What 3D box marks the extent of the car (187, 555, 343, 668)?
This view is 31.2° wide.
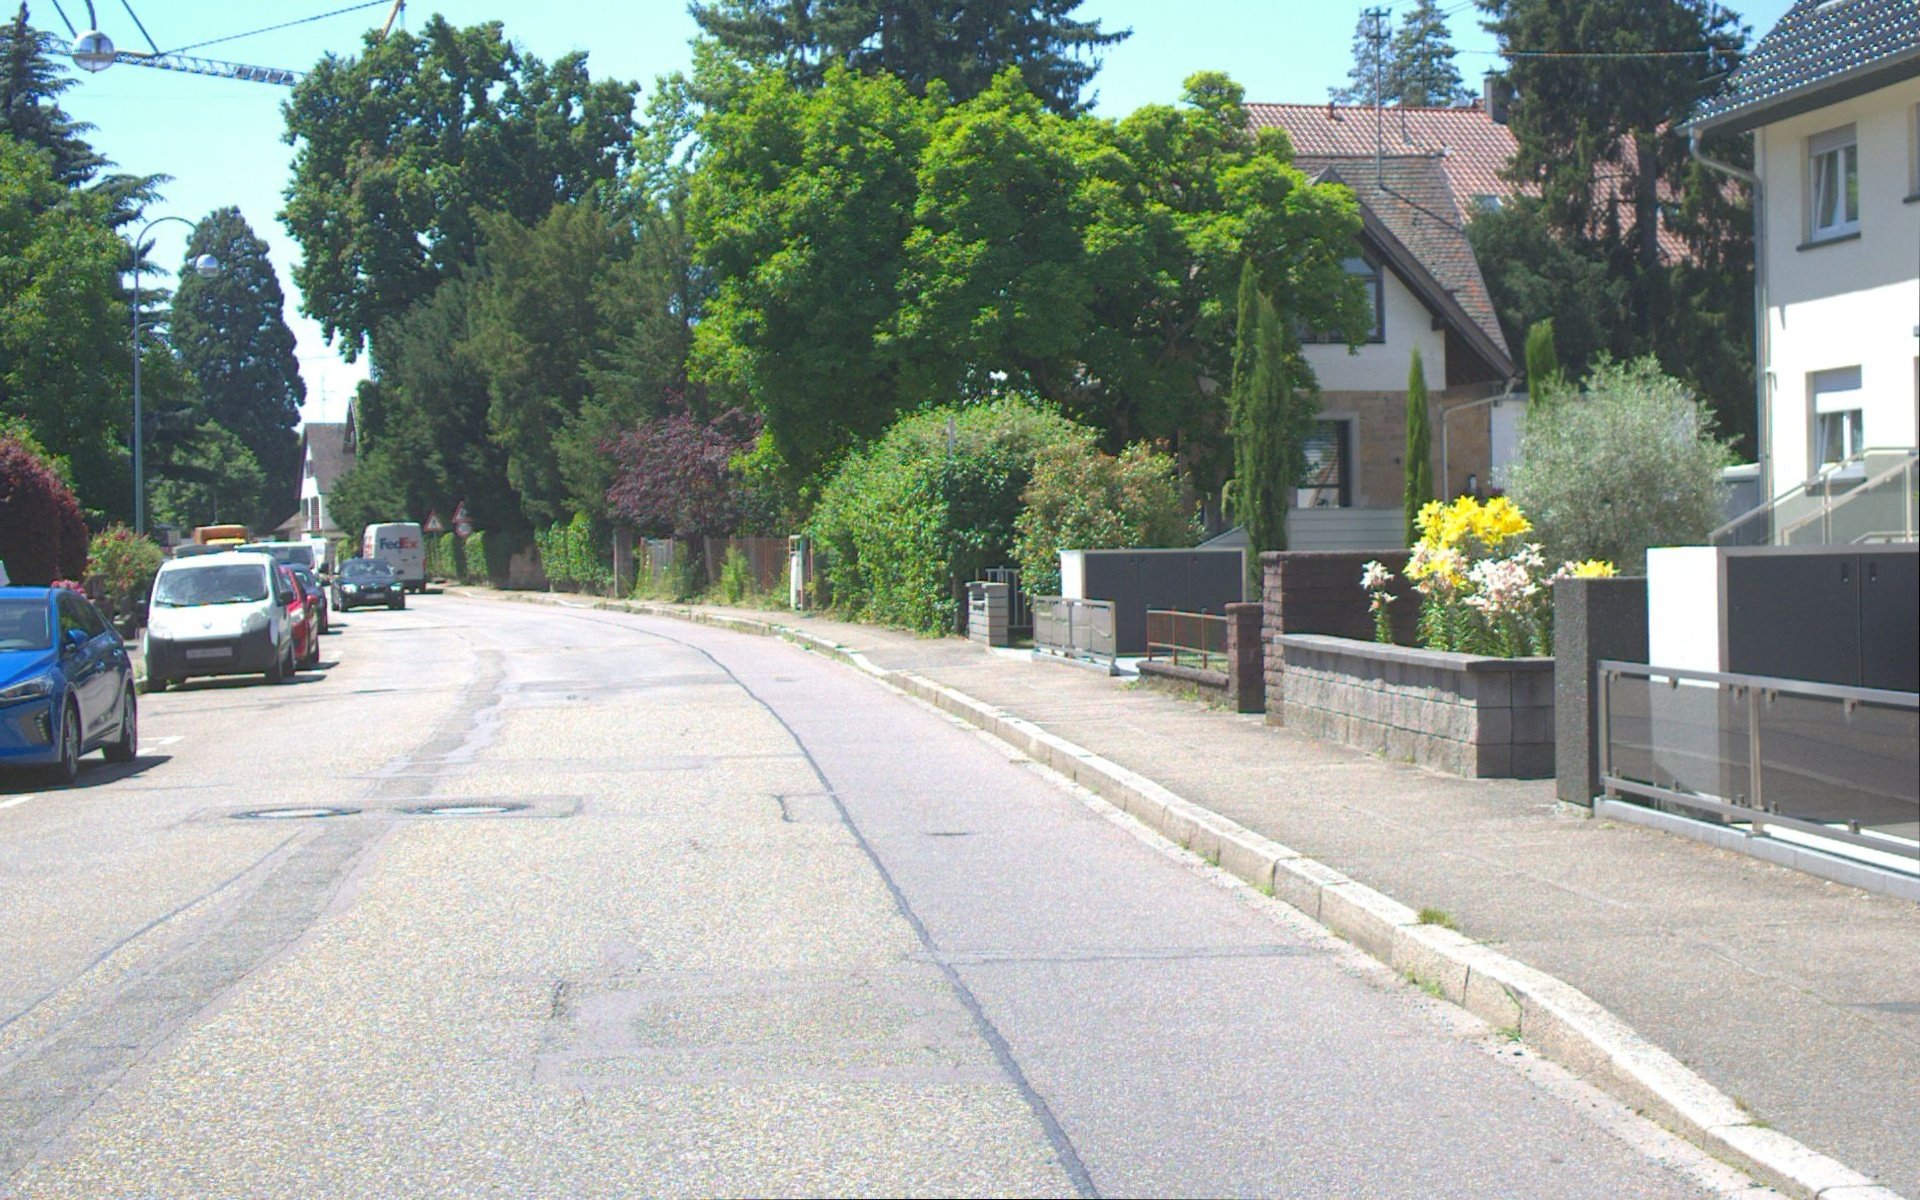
[{"bbox_3d":[-10.190,0.134,50.643,1.760,1.472,4.059,-3,1,-6],"label":"car"}]

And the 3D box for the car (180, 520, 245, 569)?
[{"bbox_3d":[-27.295,-2.015,125.449,1.850,1.665,4.714,-4,2,-16],"label":"car"}]

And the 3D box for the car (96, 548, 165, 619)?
[{"bbox_3d":[-21.811,-0.459,90.455,1.647,1.746,4.356,-3,1,-13],"label":"car"}]

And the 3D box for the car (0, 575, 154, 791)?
[{"bbox_3d":[-7.340,0.595,25.908,1.769,1.434,4.363,-3,1,-5],"label":"car"}]

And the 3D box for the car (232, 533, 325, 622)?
[{"bbox_3d":[-15.457,-0.544,77.860,1.886,1.875,4.982,-2,1,-12],"label":"car"}]

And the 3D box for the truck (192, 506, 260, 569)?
[{"bbox_3d":[-34.522,-2.903,161.639,2.372,2.820,5.660,-3,1,-19],"label":"truck"}]

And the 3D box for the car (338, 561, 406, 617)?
[{"bbox_3d":[-16.101,-0.309,94.286,1.731,1.412,4.001,-3,1,-9],"label":"car"}]

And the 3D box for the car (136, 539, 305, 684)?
[{"bbox_3d":[-9.666,0.112,45.167,1.722,1.730,3.888,-3,1,-7],"label":"car"}]

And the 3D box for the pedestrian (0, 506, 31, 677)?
[{"bbox_3d":[-10.926,-0.114,38.464,0.689,1.883,1.019,4,0,-1],"label":"pedestrian"}]

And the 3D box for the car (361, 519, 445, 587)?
[{"bbox_3d":[-20.251,-1.712,124.922,2.143,2.307,4.854,-3,2,-18],"label":"car"}]
